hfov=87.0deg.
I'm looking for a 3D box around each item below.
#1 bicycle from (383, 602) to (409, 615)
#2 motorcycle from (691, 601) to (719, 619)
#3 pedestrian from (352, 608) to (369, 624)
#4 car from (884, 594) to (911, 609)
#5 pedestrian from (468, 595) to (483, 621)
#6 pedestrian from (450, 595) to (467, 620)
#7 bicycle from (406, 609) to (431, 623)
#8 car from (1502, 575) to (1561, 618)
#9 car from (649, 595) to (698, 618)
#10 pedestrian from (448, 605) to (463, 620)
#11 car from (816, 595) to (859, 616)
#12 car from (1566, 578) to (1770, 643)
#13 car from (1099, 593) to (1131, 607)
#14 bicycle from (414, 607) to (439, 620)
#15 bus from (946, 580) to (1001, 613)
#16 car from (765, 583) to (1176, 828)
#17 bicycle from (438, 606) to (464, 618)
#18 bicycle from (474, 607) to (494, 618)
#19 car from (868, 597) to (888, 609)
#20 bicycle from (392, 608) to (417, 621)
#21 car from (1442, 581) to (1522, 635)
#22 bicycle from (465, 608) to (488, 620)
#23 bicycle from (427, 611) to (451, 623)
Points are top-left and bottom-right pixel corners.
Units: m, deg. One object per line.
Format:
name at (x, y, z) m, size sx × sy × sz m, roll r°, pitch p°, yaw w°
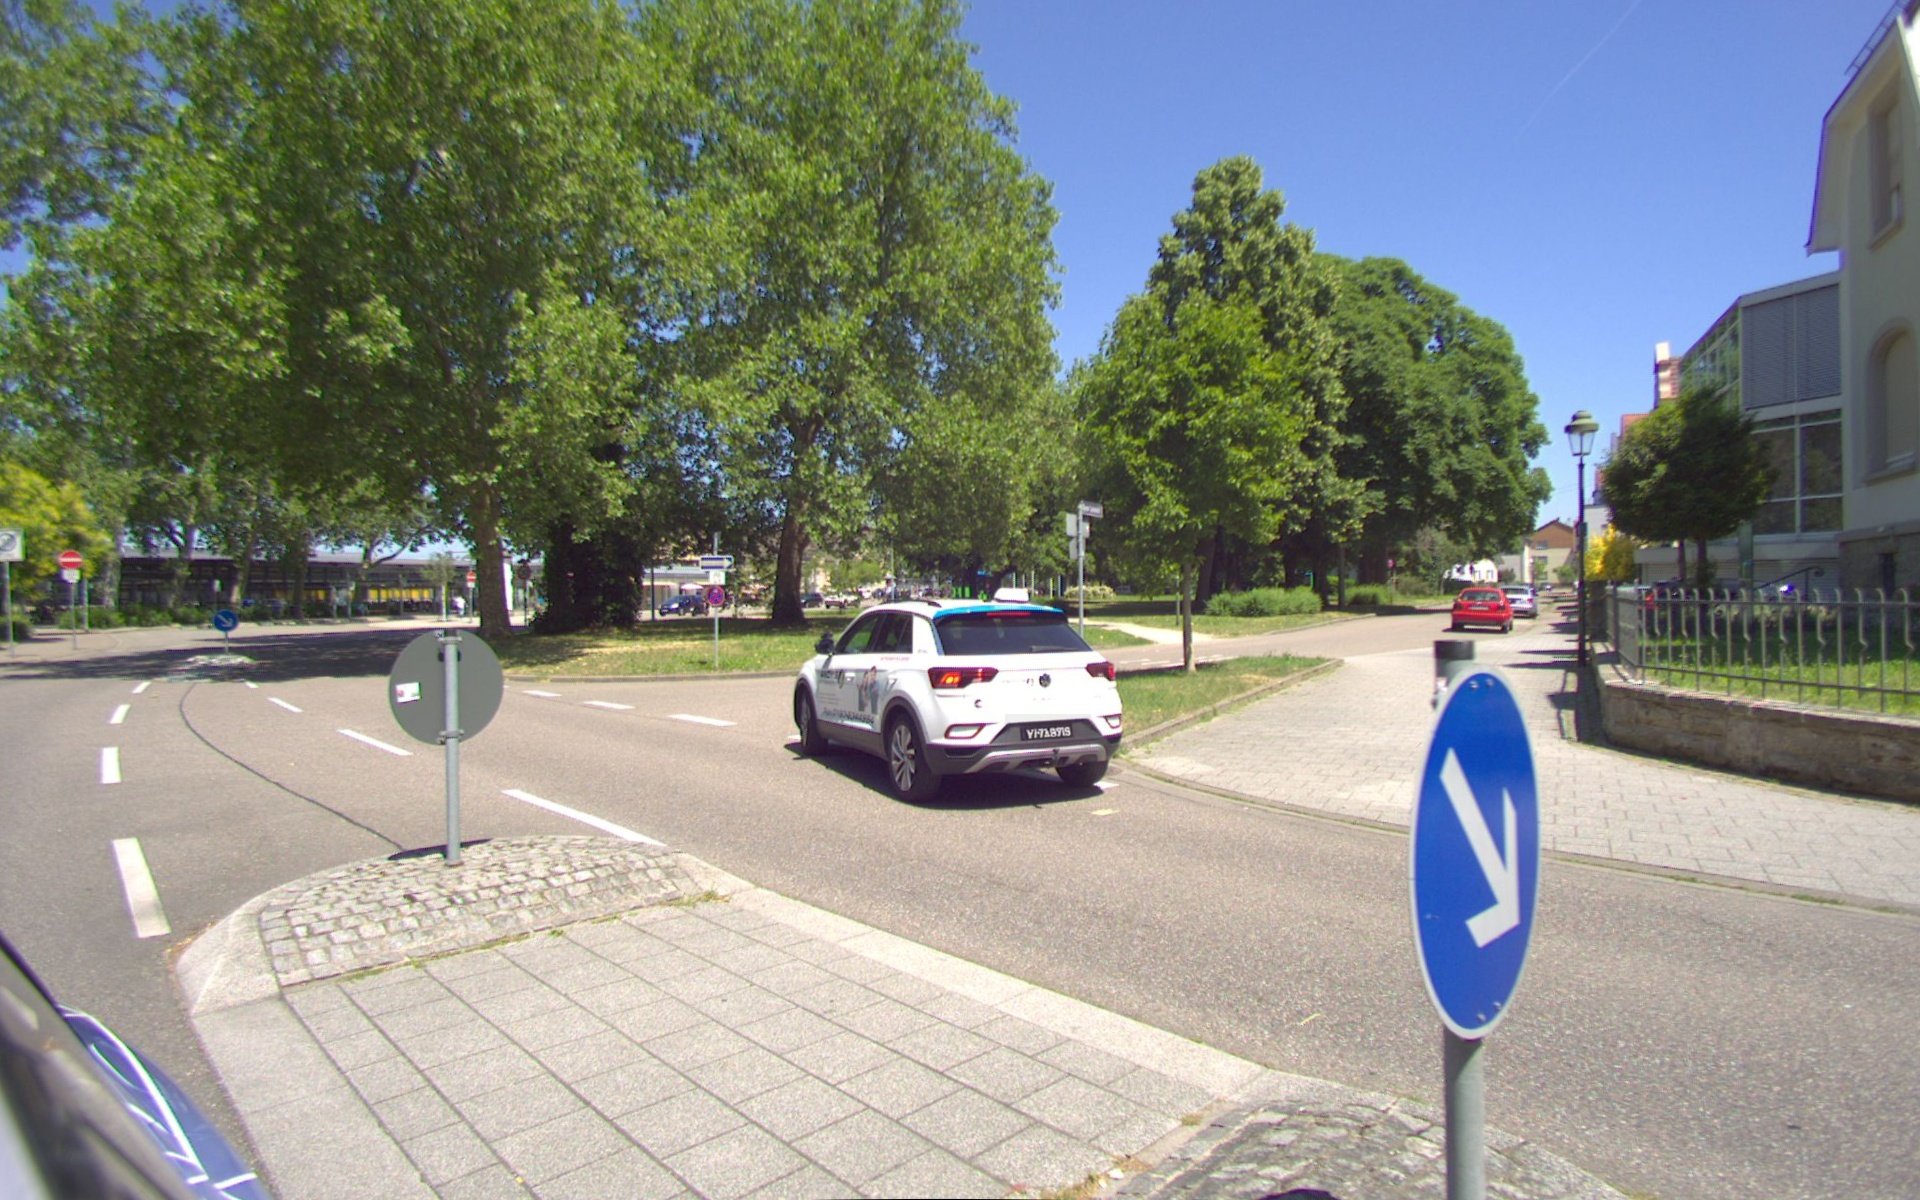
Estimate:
bicycle at (-54.135, 0.790, 97.153) m, size 0.666 × 1.081 × 2.154 m, roll 1°, pitch 4°, yaw 22°
motorcycle at (-18.277, 0.708, 72.627) m, size 0.806 × 1.241 × 2.032 m, roll -1°, pitch 0°, yaw 26°
pedestrian at (-48.885, 1.322, 82.565) m, size 0.823 × 1.284 × 0.864 m, roll -1°, pitch 0°, yaw 15°
car at (-6.236, 0.176, 101.878) m, size 1.630 × 1.428 × 3.982 m, roll 0°, pitch 0°, yaw 14°
pedestrian at (-35.001, 0.572, 73.099) m, size 0.899 × 1.798 × 0.697 m, roll -1°, pitch 0°, yaw -31°
pedestrian at (-35.901, 0.562, 72.445) m, size 0.901 × 1.749 × 0.676 m, roll -1°, pitch 0°, yaw -44°
bicycle at (-51.454, 1.524, 96.162) m, size 0.666 × 1.081 × 2.154 m, roll 1°, pitch 4°, yaw 22°
car at (25.866, -0.176, 45.756) m, size 1.994 × 1.792 × 4.455 m, roll -1°, pitch 0°, yaw 33°
car at (-20.197, 0.449, 71.456) m, size 1.759 × 1.556 × 4.172 m, roll 0°, pitch 1°, yaw 8°
pedestrian at (-45.849, 1.141, 91.989) m, size 0.955 × 1.396 × 0.825 m, roll -1°, pitch 0°, yaw 20°
car at (-10.716, 0.500, 88.795) m, size 2.033 × 1.760 × 4.296 m, roll 0°, pitch -1°, yaw 19°
car at (17.413, 0.270, 25.066) m, size 3.992 × 1.445 × 1.858 m, roll -2°, pitch 1°, yaw 36°
car at (21.418, 0.038, 139.582) m, size 3.972 × 1.817 × 1.986 m, roll -1°, pitch 0°, yaw 22°
bicycle at (-50.485, 1.248, 95.723) m, size 0.666 × 1.081 × 2.154 m, roll 1°, pitch 4°, yaw 22°
bus at (1.601, -0.414, 112.265) m, size 2.793 × 3.327 × 11.789 m, roll -1°, pitch 0°, yaw 18°
car at (-0.203, 0.778, 9.260) m, size 1.846 × 1.635 × 4.317 m, roll -2°, pitch -1°, yaw -28°
bicycle at (-50.338, 1.195, 100.147) m, size 2.140 × 1.081 × 0.863 m, roll -1°, pitch 3°, yaw 2°
bicycle at (-49.752, 1.299, 105.739) m, size 2.156 × 1.081 × 0.665 m, roll 1°, pitch 4°, yaw 23°
car at (-14.266, 0.508, 176.044) m, size 1.984 × 2.029 × 3.975 m, roll -1°, pitch 0°, yaw 19°
bicycle at (-53.038, 1.379, 96.714) m, size 0.666 × 1.081 × 2.154 m, roll 1°, pitch 4°, yaw 22°
car at (17.216, 0.241, 33.280) m, size 1.993 × 1.630 × 4.458 m, roll -1°, pitch 0°, yaw 32°
bicycle at (-48.699, 1.386, 101.982) m, size 0.666 × 1.081 × 2.154 m, roll 1°, pitch 4°, yaw 22°
bicycle at (-48.025, 1.580, 93.287) m, size 2.150 × 1.081 × 0.667 m, roll 0°, pitch 4°, yaw 17°
